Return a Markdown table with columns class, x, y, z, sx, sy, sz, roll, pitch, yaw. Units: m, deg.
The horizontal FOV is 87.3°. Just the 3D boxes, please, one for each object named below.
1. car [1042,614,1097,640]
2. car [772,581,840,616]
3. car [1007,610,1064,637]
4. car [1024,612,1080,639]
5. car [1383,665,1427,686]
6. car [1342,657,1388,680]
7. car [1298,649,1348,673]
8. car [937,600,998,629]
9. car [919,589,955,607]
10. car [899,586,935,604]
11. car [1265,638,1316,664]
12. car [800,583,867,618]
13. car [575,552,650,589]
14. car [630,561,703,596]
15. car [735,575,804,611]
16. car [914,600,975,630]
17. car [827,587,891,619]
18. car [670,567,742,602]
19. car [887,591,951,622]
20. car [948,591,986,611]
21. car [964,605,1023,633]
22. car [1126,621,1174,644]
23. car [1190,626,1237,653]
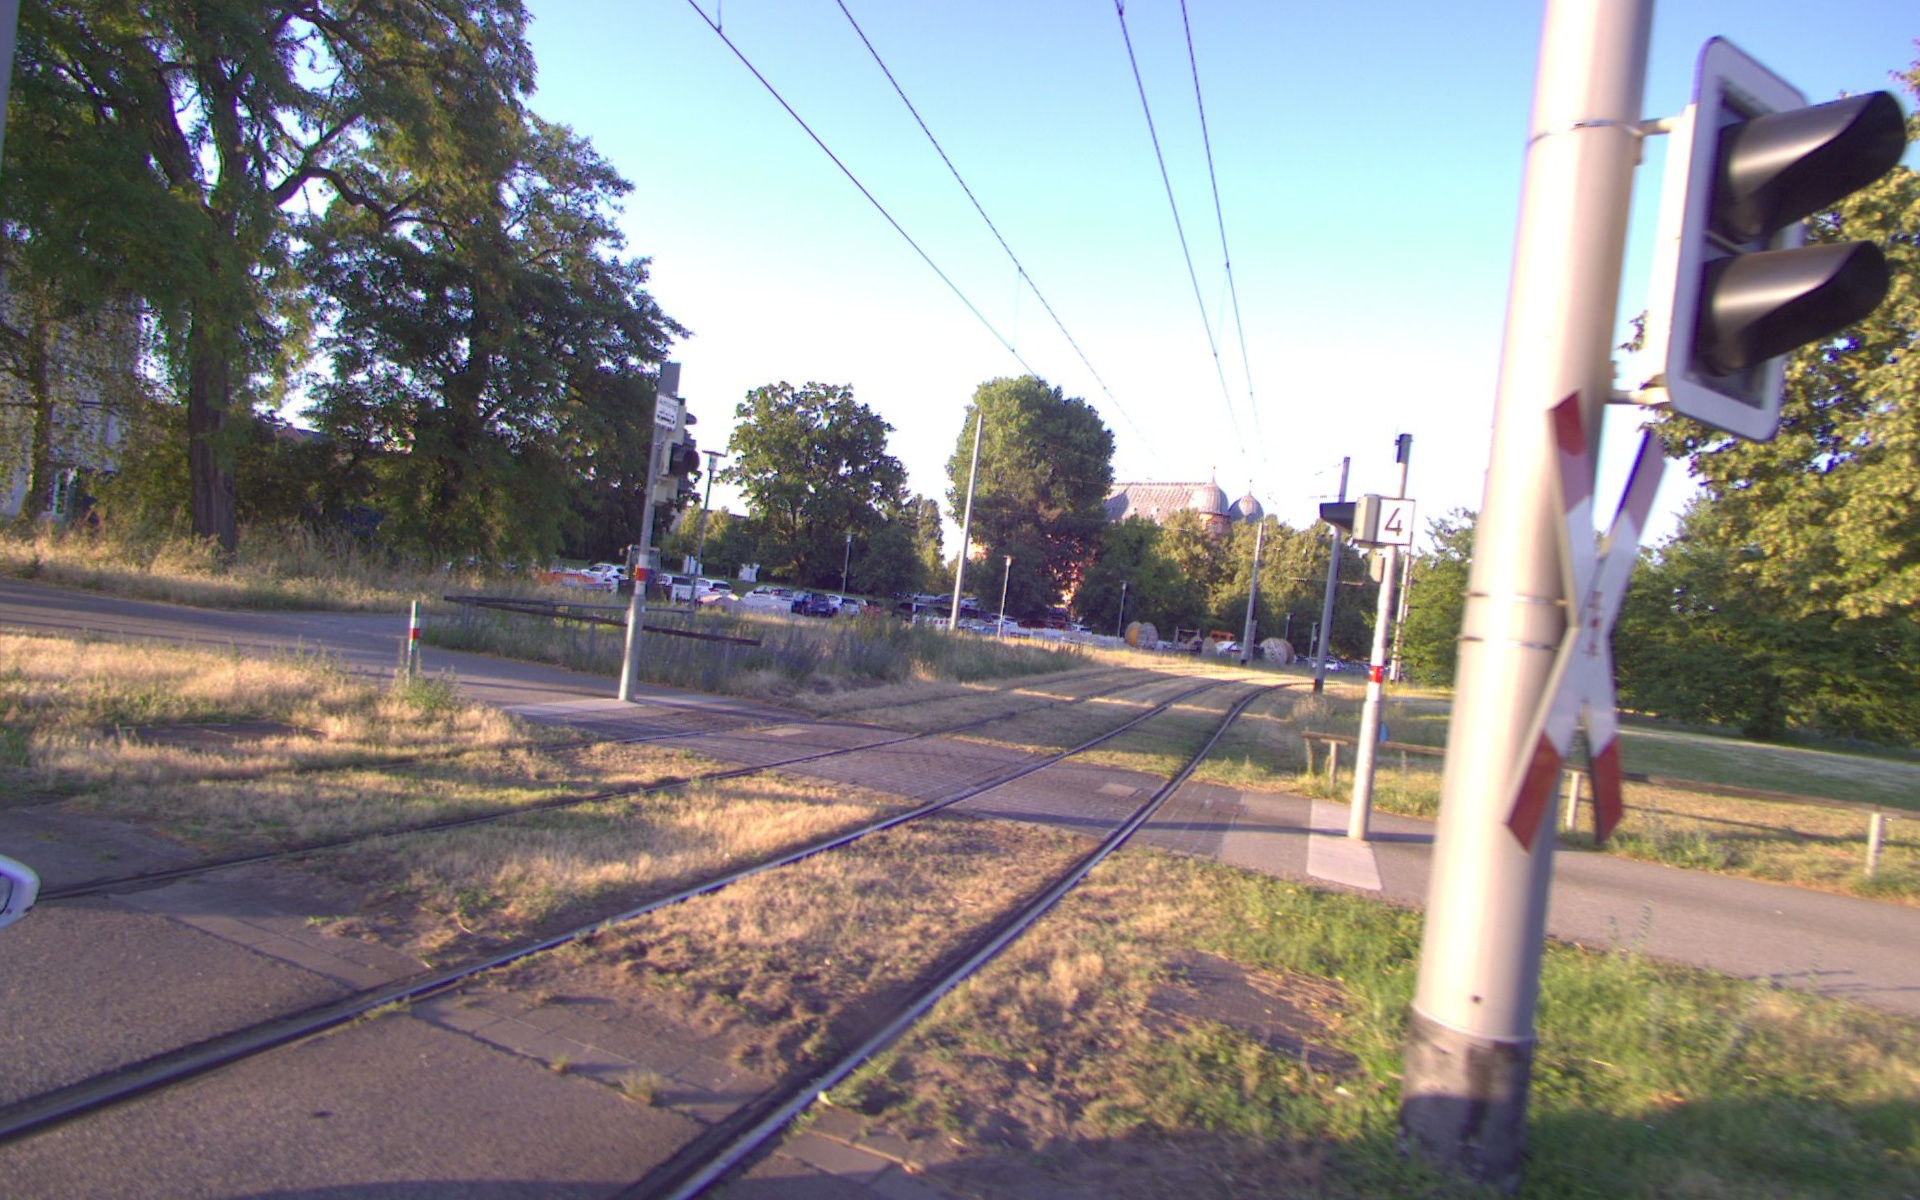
| class | x | y | z | sx | sy | sz | roll | pitch | yaw |
| --- | --- | --- | --- | --- | --- | --- | --- | --- | --- |
| car | 8.861 | 2.205 | 81.799 | 3.943 | 1.573 | 1.895 | 7 | 0 | 41 |
| car | -9.590 | -0.103 | 62.490 | 3.943 | 1.682 | 1.944 | 7 | 0 | 41 |
| car | 5.840 | 1.822 | 77.995 | 3.943 | 1.573 | 1.895 | 7 | 0 | 41 |
| car | 7.312 | 1.996 | 79.904 | 3.943 | 1.573 | 1.895 | 7 | 0 | 41 |
| car | 44.269 | 7.518 | 100.078 | 3.557 | 1.499 | 1.706 | 9 | 0 | 38 |
| car | 38.377 | 6.495 | 95.298 | 3.557 | 1.499 | 1.706 | 9 | 0 | 38 |
| car | 31.776 | 5.327 | 88.088 | 3.557 | 1.499 | 1.706 | 9 | 0 | 38 |
| car | 0.521 | 1.057 | 72.773 | 3.943 | 1.573 | 1.895 | 7 | 0 | 41 |
| car | -2.703 | -0.227 | 119.084 | 1.878 | 1.573 | 3.978 | 7 | 0 | 44 |
| car | -5.219 | -0.587 | 121.832 | 1.878 | 1.573 | 3.978 | 7 | 0 | 44 |
| car | 27.476 | 4.255 | 83.683 | 3.557 | 1.499 | 1.706 | 9 | 0 | 38 |
| car | -8.098 | 0.024 | 64.126 | 3.943 | 1.682 | 1.944 | 7 | 0 | 41 |
| car | -18.506 | -1.591 | 53.443 | 3.943 | 1.463 | 1.944 | 7 | 0 | 41 |
| car | -16.187 | -1.194 | 55.436 | 3.943 | 1.463 | 1.944 | 7 | 0 | 41 |
| car | -11.595 | -0.430 | 61.054 | 3.943 | 1.682 | 1.944 | 7 | 0 | 41 |
| car | -1.109 | 1.026 | 70.953 | 3.943 | 1.573 | 1.895 | 7 | 0 | 41 |
| car | -6.675 | 0.168 | 66.313 | 3.943 | 1.573 | 1.895 | 7 | 0 | 41 |
| car | -14.383 | -0.885 | 56.936 | 3.943 | 1.463 | 1.944 | 7 | 0 | 41 |
| car | -2.856 | 0.426 | 69.472 | 4.041 | 1.573 | 1.895 | 7 | 0 | 41 |
| car | 0.804 | 0.164 | 116.196 | 1.973 | 1.766 | 3.979 | 9 | 1 | 43 |
| car | 2.483 | 1.394 | 74.994 | 3.943 | 1.573 | 1.895 | 7 | 0 | 41 |
| car | 17.010 | 2.913 | 90.159 | 3.623 | 1.370 | 1.794 | 9 | 0 | 38 |
| car | 25.227 | 3.931 | 100.162 | 3.943 | 2.121 | 1.895 | 7 | 0 | 41 |
